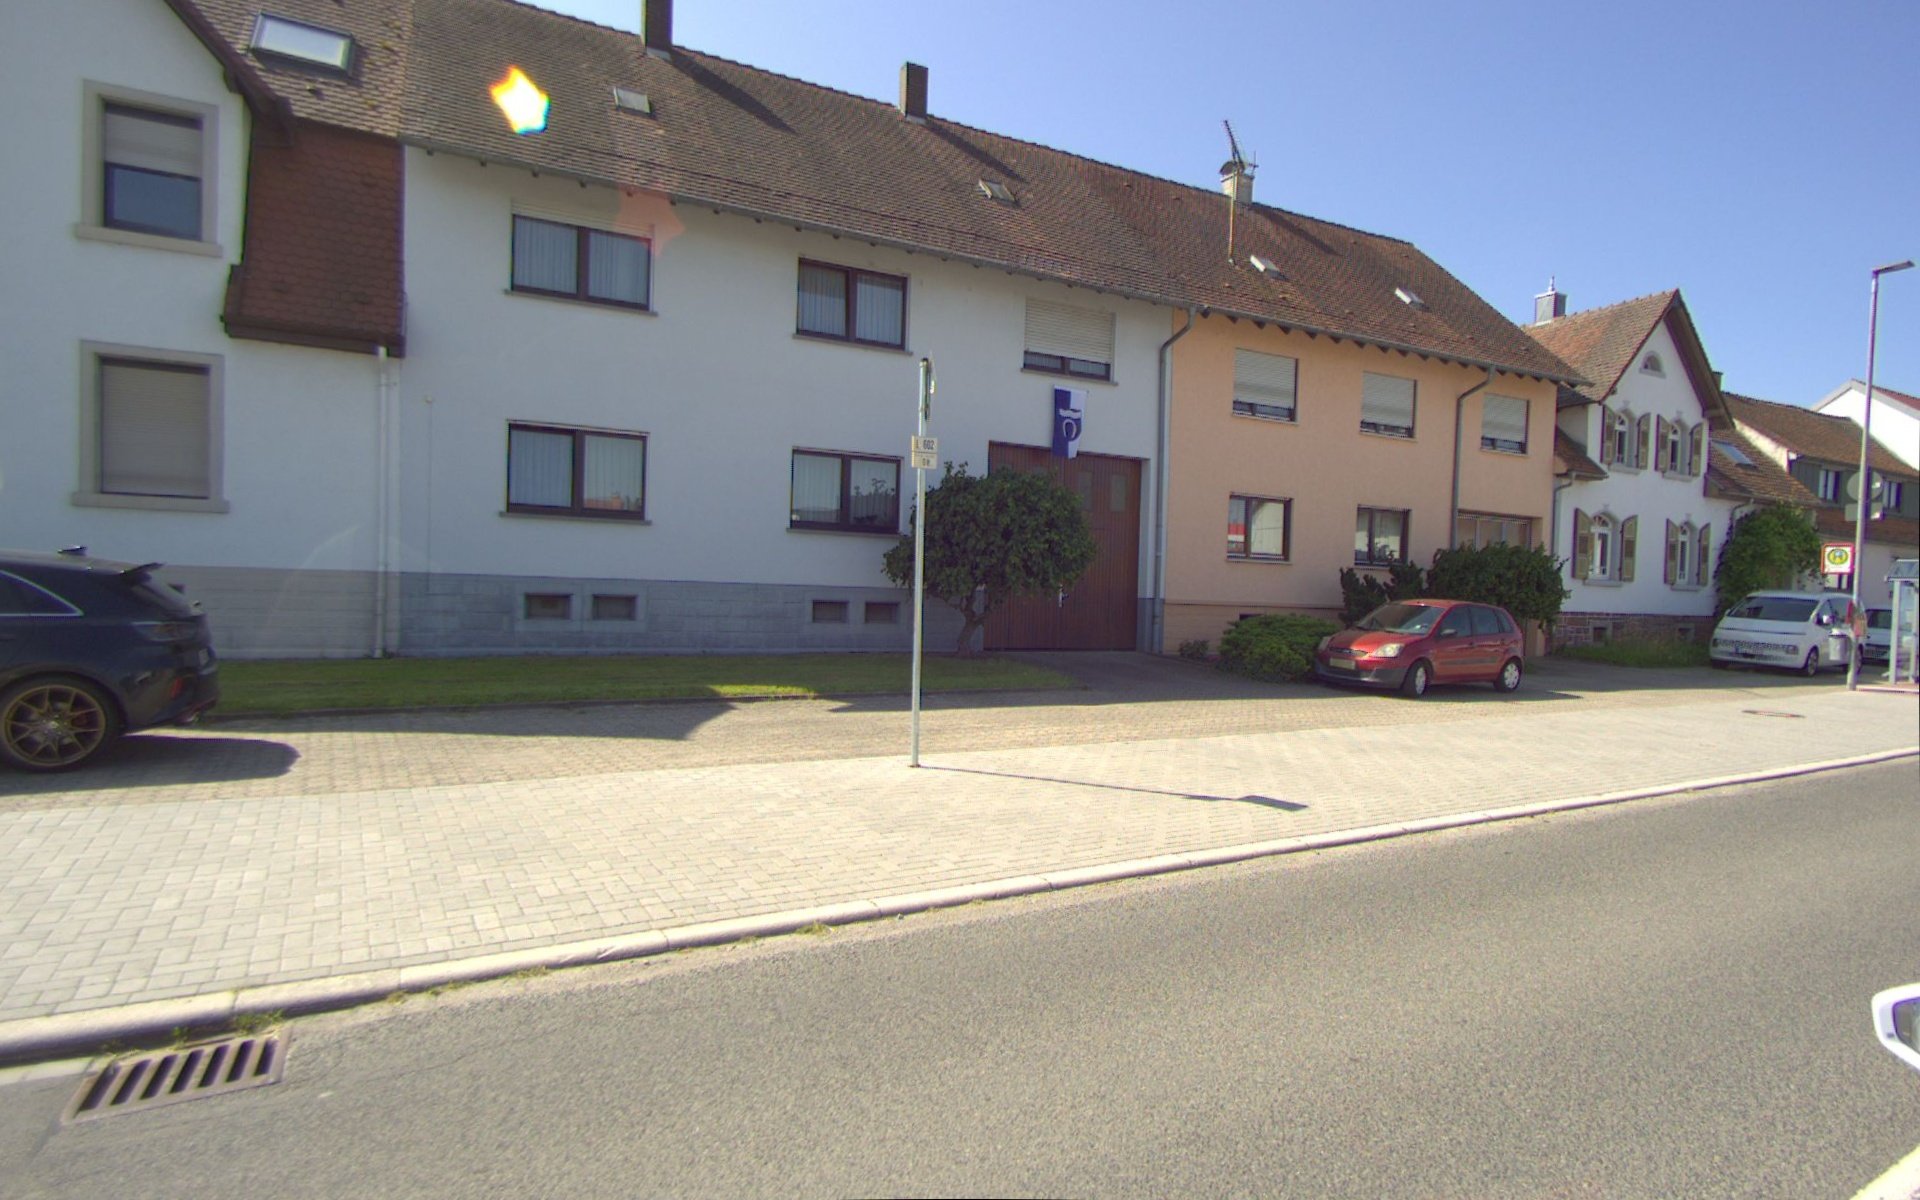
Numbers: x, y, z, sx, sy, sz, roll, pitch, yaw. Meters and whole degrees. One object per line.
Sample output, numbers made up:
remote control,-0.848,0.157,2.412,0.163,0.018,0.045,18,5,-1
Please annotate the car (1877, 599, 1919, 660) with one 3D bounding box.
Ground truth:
car,31.597,0.996,32.081,4.284,1.817,1.831,2,3,-25

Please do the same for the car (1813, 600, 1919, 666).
car,27.649,0.991,29.924,4.224,1.798,1.960,2,1,-28

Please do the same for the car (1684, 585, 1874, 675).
car,20.449,0.745,25.020,5.208,2.013,2.114,2,1,-33

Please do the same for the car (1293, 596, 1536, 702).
car,7.396,0.712,16.287,3.871,1.473,1.705,0,2,-32

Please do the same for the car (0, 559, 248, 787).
car,-7.375,0.408,6.455,4.346,1.426,1.707,3,-1,-30
